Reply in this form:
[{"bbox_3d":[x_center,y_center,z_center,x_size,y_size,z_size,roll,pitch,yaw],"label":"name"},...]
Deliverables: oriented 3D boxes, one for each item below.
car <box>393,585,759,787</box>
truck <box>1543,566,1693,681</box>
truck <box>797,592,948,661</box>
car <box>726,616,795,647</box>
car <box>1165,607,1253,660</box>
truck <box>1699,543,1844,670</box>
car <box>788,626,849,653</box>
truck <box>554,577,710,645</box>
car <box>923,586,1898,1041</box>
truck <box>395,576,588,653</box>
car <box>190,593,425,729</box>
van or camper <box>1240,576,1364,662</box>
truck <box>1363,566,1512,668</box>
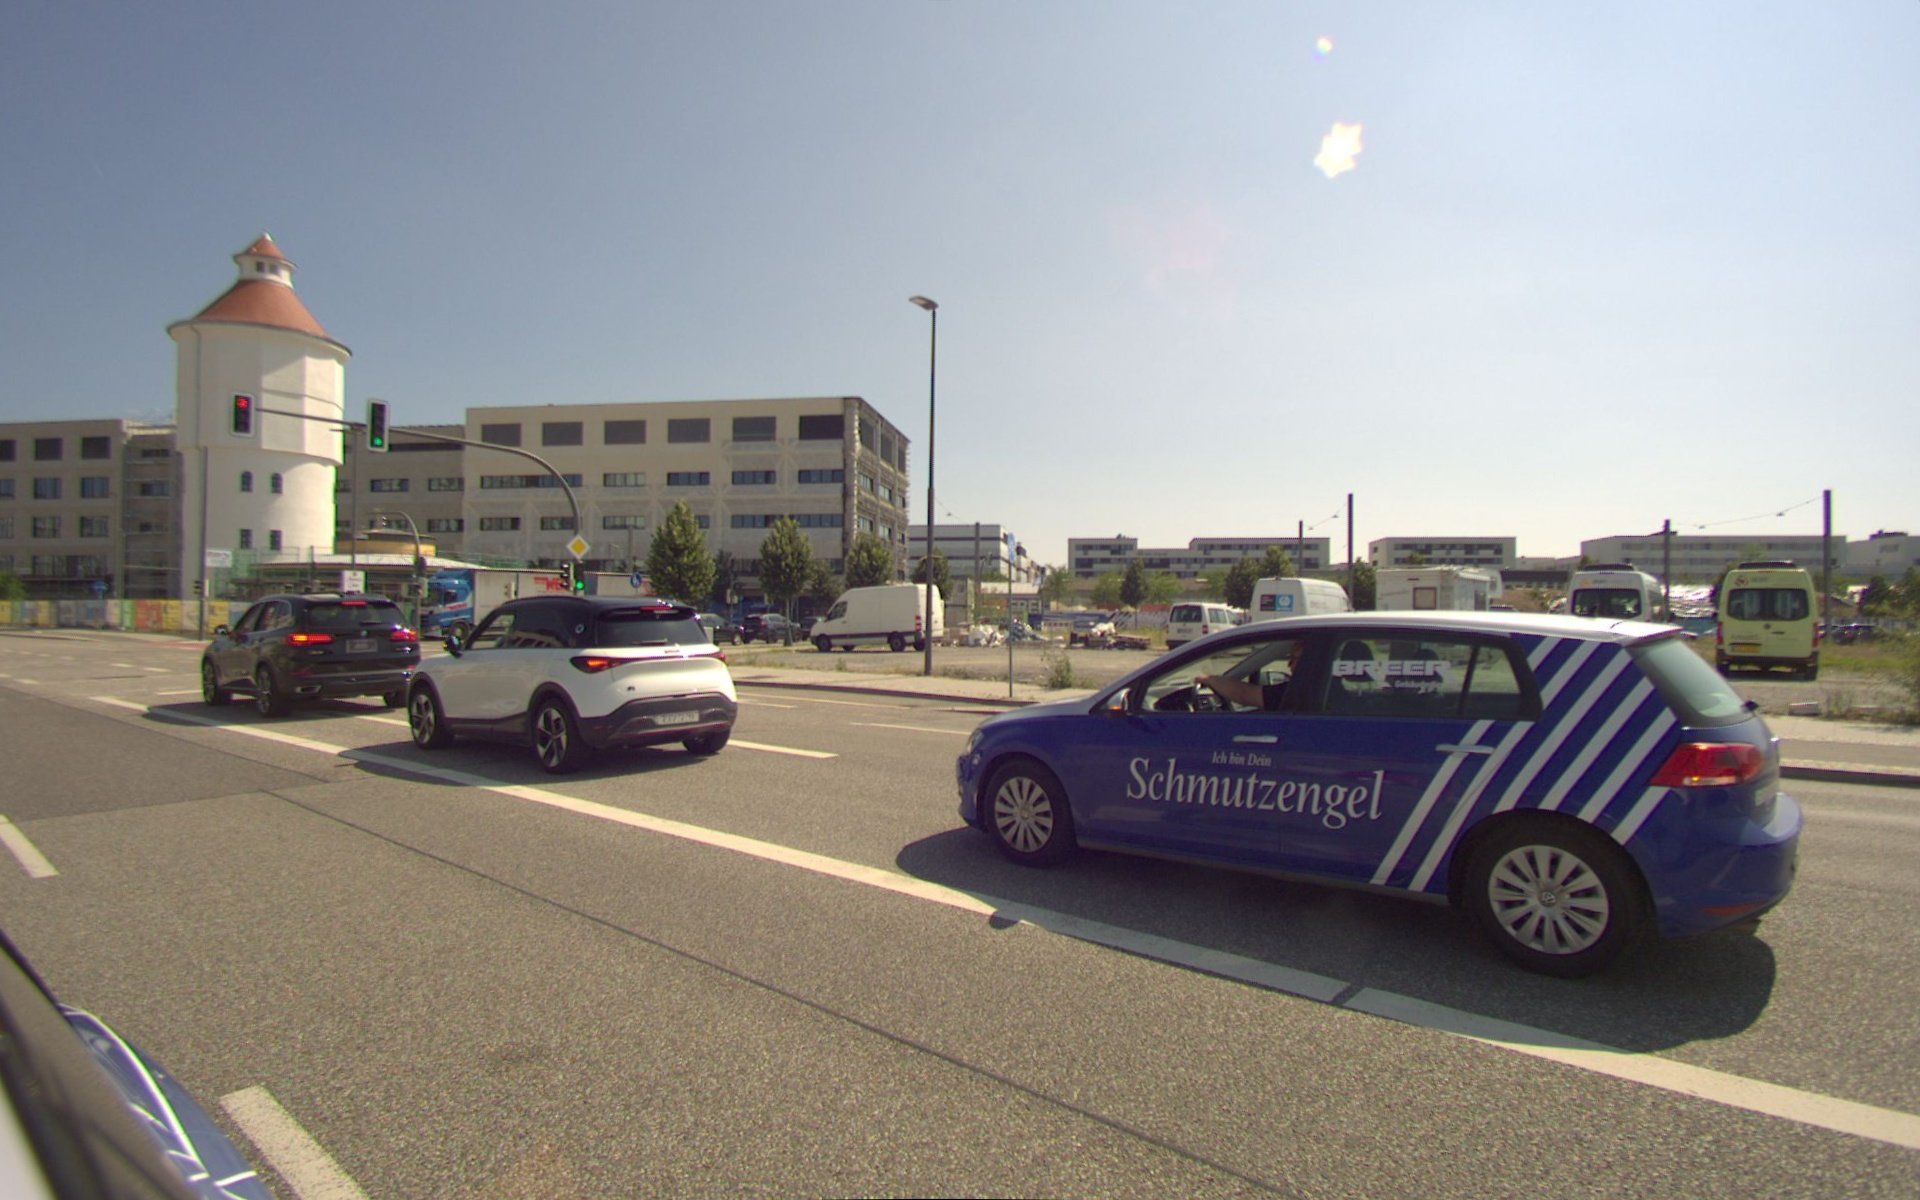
[{"bbox_3d":[-4.099,0.761,10.503,4.095,1.695,1.761,-2,-1,40],"label":"car"},{"bbox_3d":[18.343,0.521,28.068,2.570,2.845,5.772,1,1,42],"label":"truck"},{"bbox_3d":[-3.607,1.043,41.322,5.916,2.675,2.153,0,-1,27],"label":"truck"},{"bbox_3d":[-11.300,1.772,57.641,1.870,1.652,3.965,0,-1,25],"label":"car"},{"bbox_3d":[8.981,1.153,36.369,1.655,1.771,3.829,-1,-1,38],"label":"car"},{"bbox_3d":[20.911,0.154,26.079,2.600,2.847,6.569,-1,-1,40],"label":"truck"},{"bbox_3d":[-8.755,2.438,63.019,1.871,1.542,3.867,-3,-2,26],"label":"car"},{"bbox_3d":[-22.280,0.598,69.660,3.331,4.307,10.840,0,1,29],"label":"truck"},{"bbox_3d":[1.950,0.693,5.297,4.281,1.432,1.767,-1,-1,42],"label":"car"},{"bbox_3d":[-27.274,0.694,59.799,3.282,4.098,10.892,0,1,24],"label":"truck"},{"bbox_3d":[-10.250,0.847,15.755,4.654,1.802,1.919,-2,-1,42],"label":"car"},{"bbox_3d":[11.652,0.615,34.331,2.259,2.682,4.848,-1,-1,41],"label":"van or camper"},{"bbox_3d":[15.146,0.420,31.872,2.570,2.923,6.079,1,1,42],"label":"truck"}]
